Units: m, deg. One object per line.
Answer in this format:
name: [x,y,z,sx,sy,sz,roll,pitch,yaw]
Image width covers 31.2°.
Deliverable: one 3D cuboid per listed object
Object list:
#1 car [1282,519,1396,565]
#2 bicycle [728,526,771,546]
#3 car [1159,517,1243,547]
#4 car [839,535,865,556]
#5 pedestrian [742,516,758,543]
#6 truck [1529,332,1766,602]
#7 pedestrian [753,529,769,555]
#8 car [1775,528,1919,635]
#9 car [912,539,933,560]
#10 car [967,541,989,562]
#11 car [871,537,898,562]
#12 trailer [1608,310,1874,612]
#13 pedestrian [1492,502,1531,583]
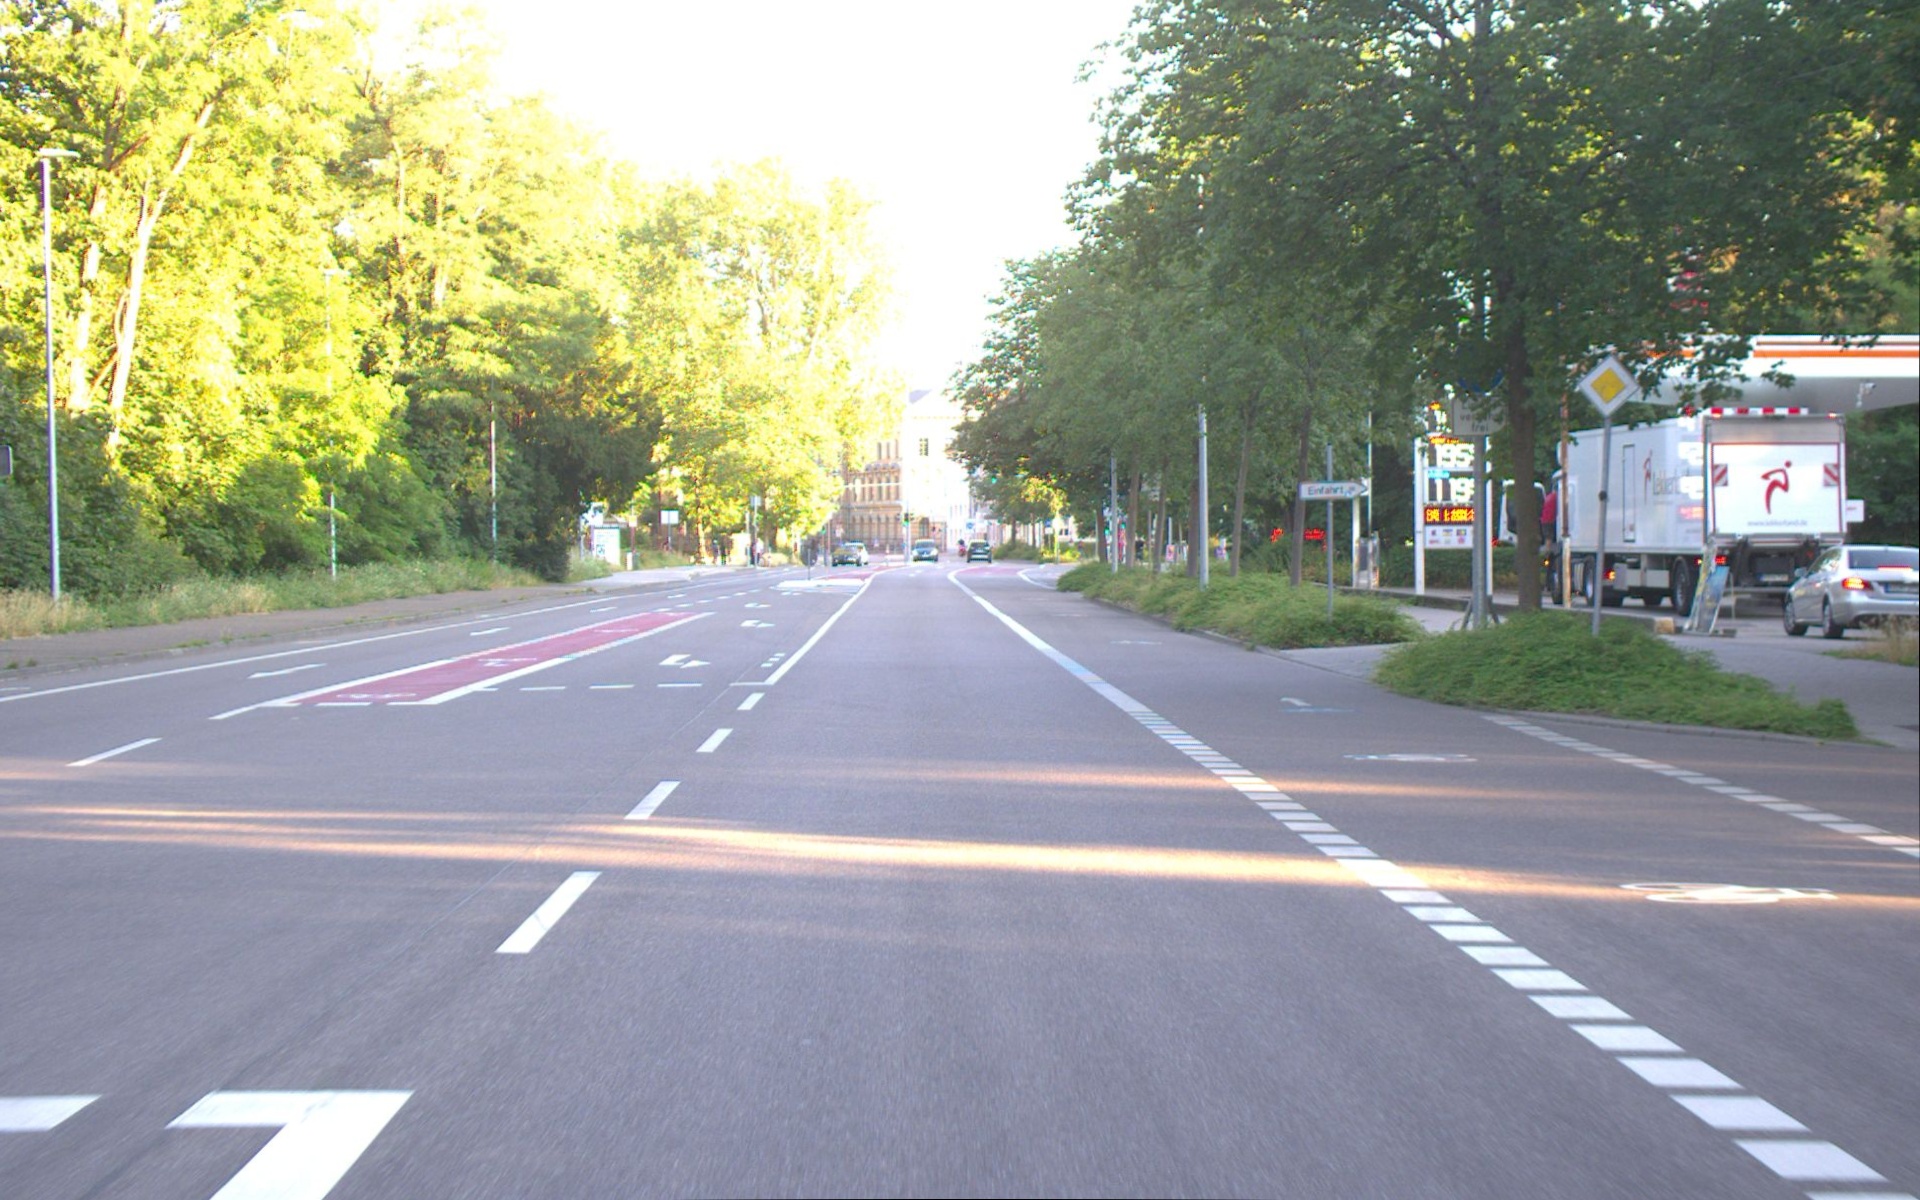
car: [16.532,-2.521,149.907,4.912,1.983,1.921,0,1,7]
bicycle: [-12.474,-3.777,203.999,2.463,1.191,0.757,0,1,9]
car: [13.118,-3.700,186.737,4.460,1.585,1.715,0,1,7]
car: [-6.635,-3.332,211.283,1.493,1.287,3.491,0,1,0]
pedestrian: [-12.486,-4.187,204.019,0.791,1.575,0.745,1,1,9]
truck: [14.562,-2.798,73.507,3.033,5.436,8.411,0,2,-2]
pedestrian: [-12.220,-3.538,211.077,0.791,1.575,0.745,1,1,9]
car: [14.104,-0.309,53.717,1.770,1.578,4.819,1,1,3]
car: [-2.721,-3.696,250.918,1.493,1.481,3.491,0,1,0]
car: [1.256,-3.404,240.809,1.493,1.481,3.491,0,1,0]
car: [-4.496,-3.033,204.764,1.493,1.481,3.491,0,1,0]
trailer: [14.876,-2.603,66.139,3.020,5.443,7.935,0,1,-2]
pedestrian: [12.363,-1.298,77.121,0.757,1.791,0.706,1,1,3]
